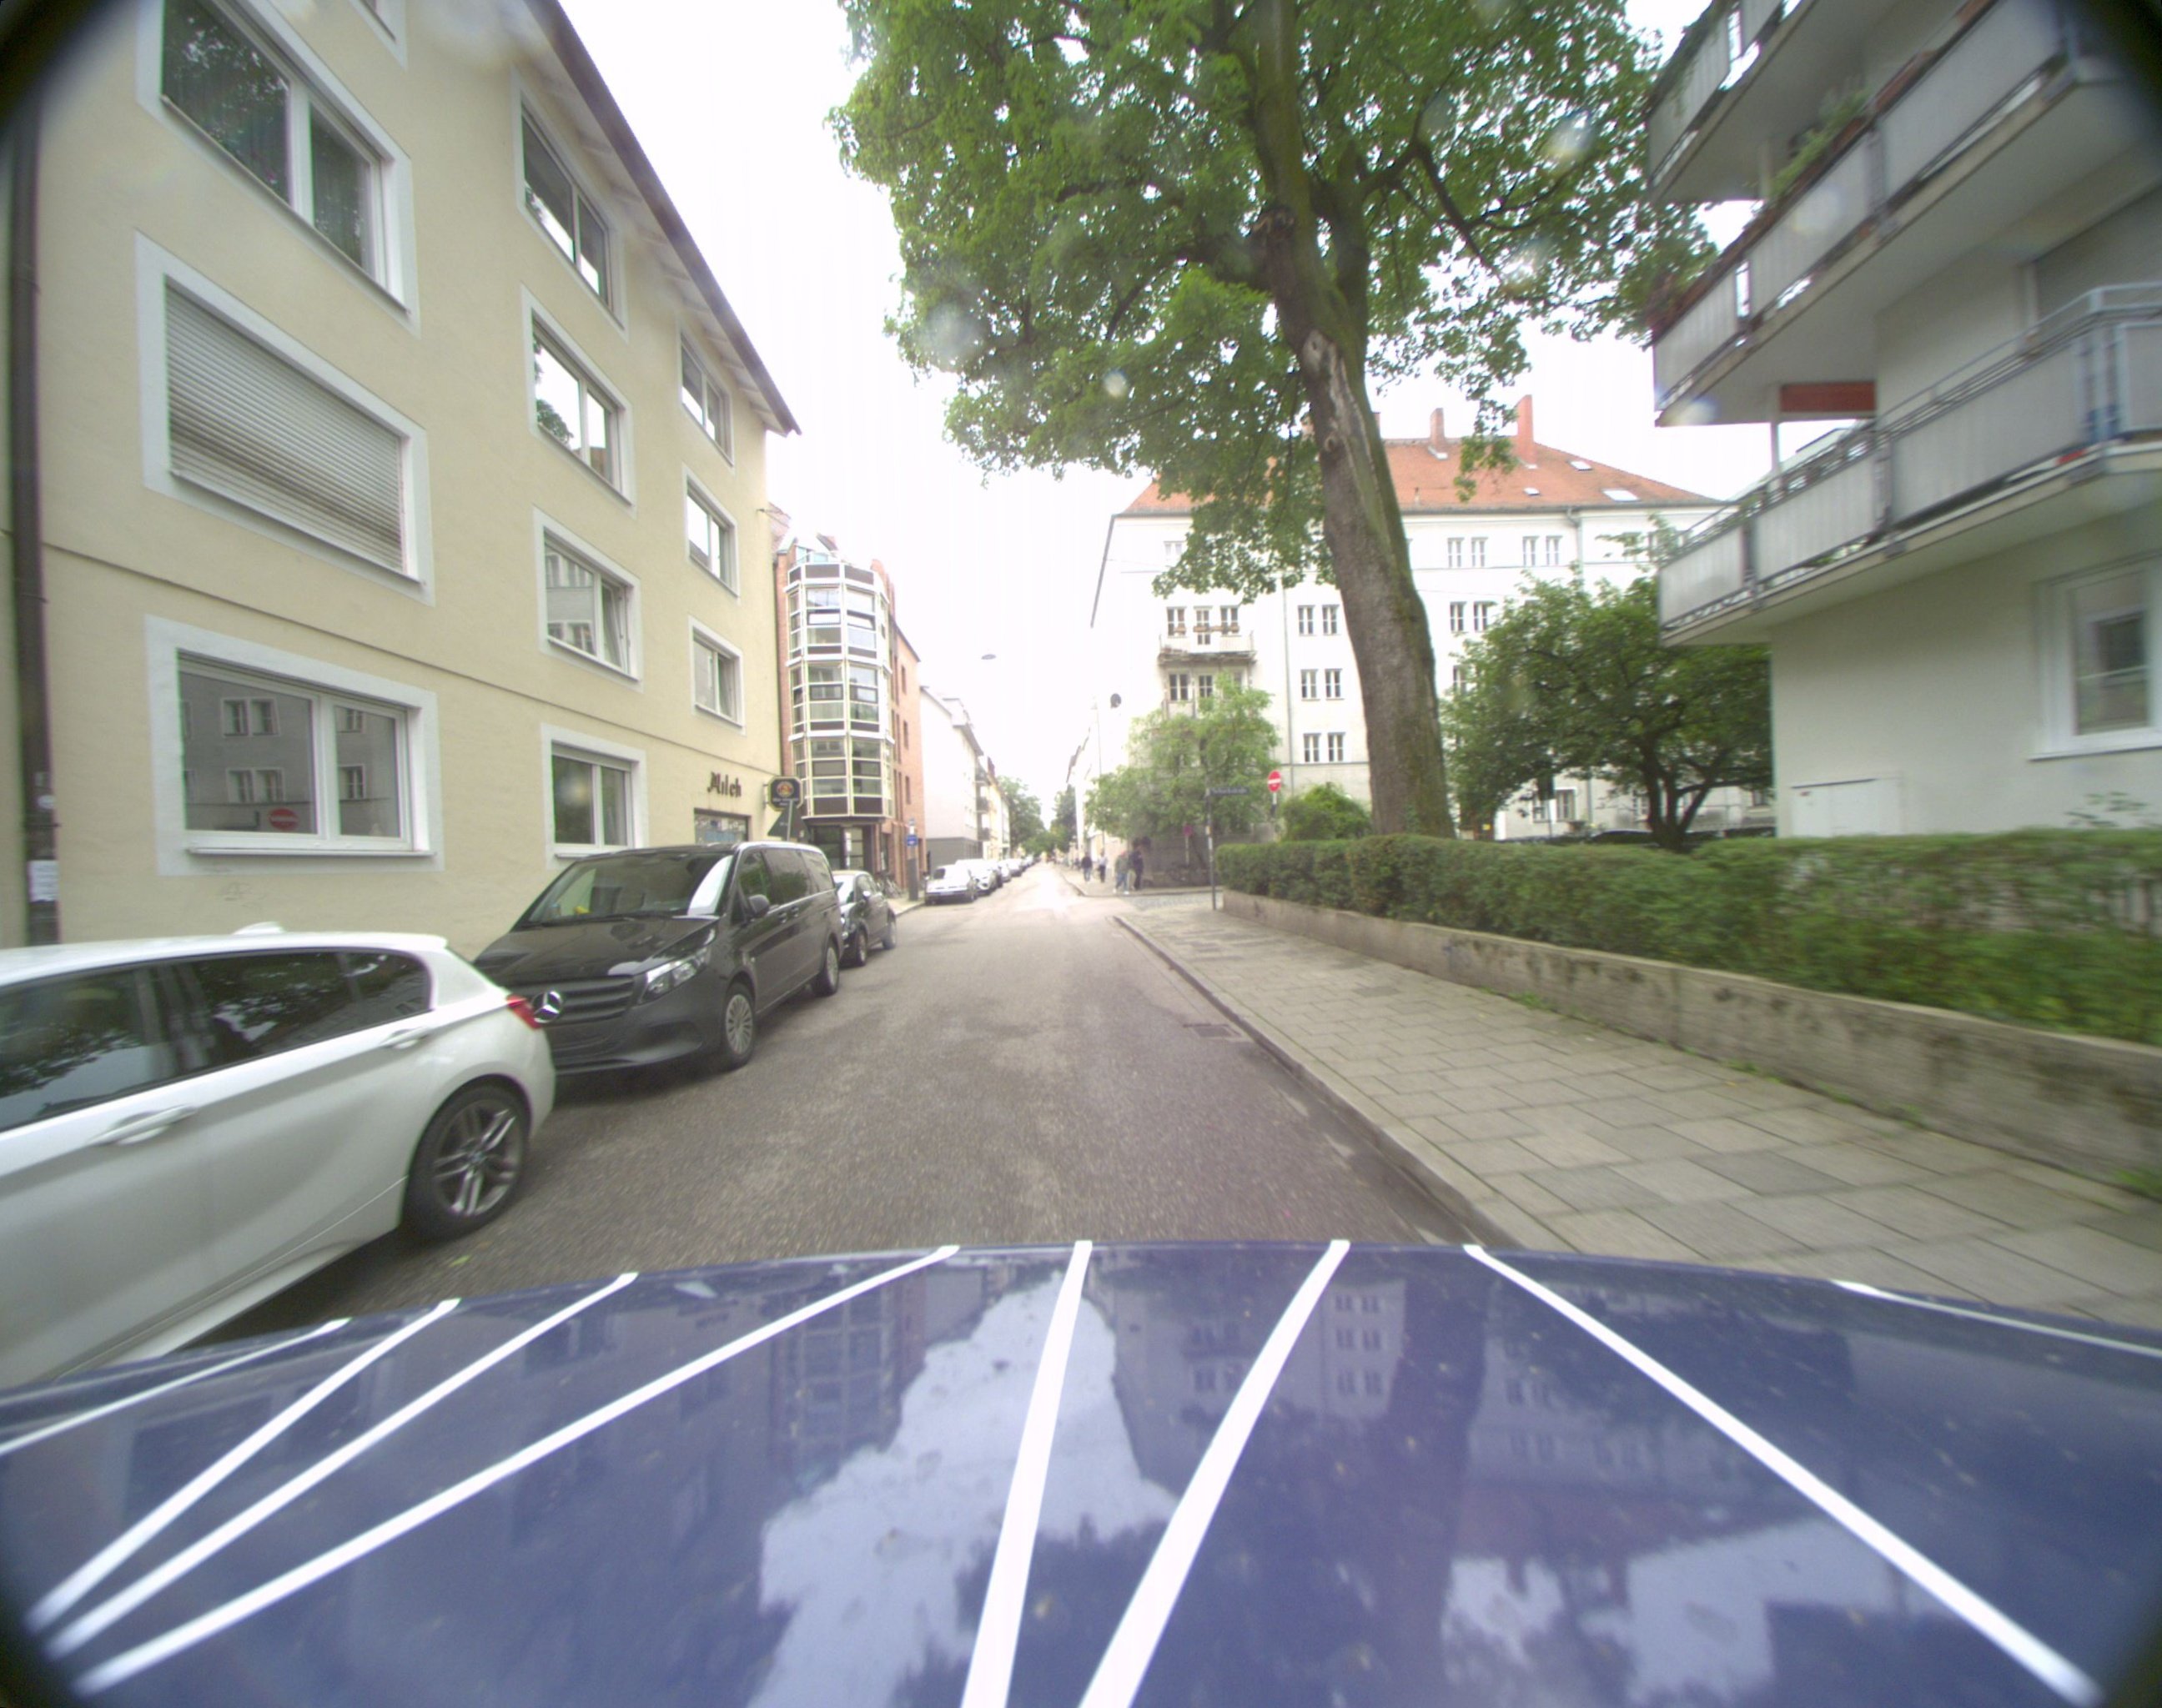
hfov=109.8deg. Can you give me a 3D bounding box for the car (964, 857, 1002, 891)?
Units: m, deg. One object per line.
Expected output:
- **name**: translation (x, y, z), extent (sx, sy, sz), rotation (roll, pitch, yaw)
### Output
- **car**: translation (-4.988, 0.997, 38.988), extent (1.620, 1.548, 3.806), rotation (-4, 0, -4)

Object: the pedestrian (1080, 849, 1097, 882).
- **pedestrian**: translation (0.419, 0.613, 41.475), extent (0.722, 1.718, 0.841), rotation (-7, 1, -2)

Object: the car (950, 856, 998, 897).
- **car**: translation (-4.799, 0.955, 34.562), extent (1.725, 1.606, 4.453), rotation (-4, 0, -4)

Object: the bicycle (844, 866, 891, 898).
- **bicycle**: translation (-8.616, 1.122, 30.662), extent (1.872, 1.222, 0.594), rotation (-1, 2, 27)

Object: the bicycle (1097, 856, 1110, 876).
- **bicycle**: translation (1.413, 0.759, 48.350), extent (0.450, 1.187, 1.498), rotation (-4, 0, -12)

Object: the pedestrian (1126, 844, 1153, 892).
- **pedestrian**: translation (2.237, 0.531, 29.131), extent (0.692, 1.753, 0.741), rotation (-5, 1, -13)

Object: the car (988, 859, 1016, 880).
- **car**: translation (-5.587, 1.074, 54.122), extent (1.619, 1.369, 3.816), rotation (-4, 0, -2)

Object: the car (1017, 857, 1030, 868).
- **car**: translation (-7.111, 1.019, 94.158), extent (1.525, 1.259, 3.209), rotation (-4, 0, -2)

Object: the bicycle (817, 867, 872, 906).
- **bicycle**: translation (-8.664, 1.180, 27.836), extent (1.807, 1.315, 0.586), rotation (-3, 2, -28)

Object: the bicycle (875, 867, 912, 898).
- **bicycle**: translation (-7.837, 1.175, 31.864), extent (0.742, 1.210, 1.781), rotation (-2, 1, 12)

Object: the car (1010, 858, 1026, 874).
- **car**: translation (-5.649, 1.082, 68.494), extent (1.190, 1.312, 2.779), rotation (-4, 0, -2)

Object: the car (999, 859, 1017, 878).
- **car**: translation (-5.718, 1.088, 59.425), extent (1.154, 1.367, 2.684), rotation (-4, 0, -2)

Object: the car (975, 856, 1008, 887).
- **car**: translation (-5.160, 0.983, 44.259), extent (1.620, 1.570, 4.050), rotation (-4, 0, -4)

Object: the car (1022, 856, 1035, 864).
- **car**: translation (-9.189, 1.040, 132.632), extent (1.999, 1.259, 3.999), rotation (-4, 0, -2)

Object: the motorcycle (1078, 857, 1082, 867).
- **motorcycle**: translation (-0.111, 0.862, 81.335), extent (0.324, 0.968, 1.960), rotation (-4, 0, -2)

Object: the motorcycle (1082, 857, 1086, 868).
- **motorcycle**: translation (0.276, 0.809, 71.749), extent (0.324, 0.968, 1.960), rotation (-4, 0, -2)

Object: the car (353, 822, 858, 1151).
- **car**: translation (-3.761, 0.851, 7.361), extent (1.996, 1.965, 4.883), rotation (-4, 0, -5)

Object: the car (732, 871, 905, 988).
- **car**: translation (-4.137, 1.109, 12.590), extent (1.639, 1.462, 3.537), rotation (-4, 0, -2)

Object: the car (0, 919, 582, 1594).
- **car**: translation (-3.572, 1.145, 1.845), extent (1.773, 1.453, 4.379), rotation (-4, 0, -1)

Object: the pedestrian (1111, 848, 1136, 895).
- **pedestrian**: translation (1.595, 0.636, 28.391), extent (0.691, 1.668, 0.859), rotation (-5, 1, -4)

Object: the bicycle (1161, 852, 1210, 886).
- **bicycle**: translation (4.158, 0.577, 30.278), extent (1.812, 1.253, 0.432), rotation (-3, 1, -4)

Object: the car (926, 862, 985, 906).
- **car**: translation (-4.706, 1.082, 28.994), extent (1.725, 1.426, 4.357), rotation (-4, 0, -4)

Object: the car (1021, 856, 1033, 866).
- **car**: translation (-8.183, 1.032, 115.172), extent (1.557, 1.280, 3.537), rotation (-4, 0, -2)

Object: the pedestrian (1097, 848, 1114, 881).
- **pedestrian**: translation (1.323, 0.556, 41.427), extent (0.695, 1.718, 0.841), rotation (-7, 1, -2)

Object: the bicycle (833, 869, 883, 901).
- **bicycle**: translation (-8.376, 1.145, 28.562), extent (1.752, 1.180, 0.443), rotation (0, 1, 3)
